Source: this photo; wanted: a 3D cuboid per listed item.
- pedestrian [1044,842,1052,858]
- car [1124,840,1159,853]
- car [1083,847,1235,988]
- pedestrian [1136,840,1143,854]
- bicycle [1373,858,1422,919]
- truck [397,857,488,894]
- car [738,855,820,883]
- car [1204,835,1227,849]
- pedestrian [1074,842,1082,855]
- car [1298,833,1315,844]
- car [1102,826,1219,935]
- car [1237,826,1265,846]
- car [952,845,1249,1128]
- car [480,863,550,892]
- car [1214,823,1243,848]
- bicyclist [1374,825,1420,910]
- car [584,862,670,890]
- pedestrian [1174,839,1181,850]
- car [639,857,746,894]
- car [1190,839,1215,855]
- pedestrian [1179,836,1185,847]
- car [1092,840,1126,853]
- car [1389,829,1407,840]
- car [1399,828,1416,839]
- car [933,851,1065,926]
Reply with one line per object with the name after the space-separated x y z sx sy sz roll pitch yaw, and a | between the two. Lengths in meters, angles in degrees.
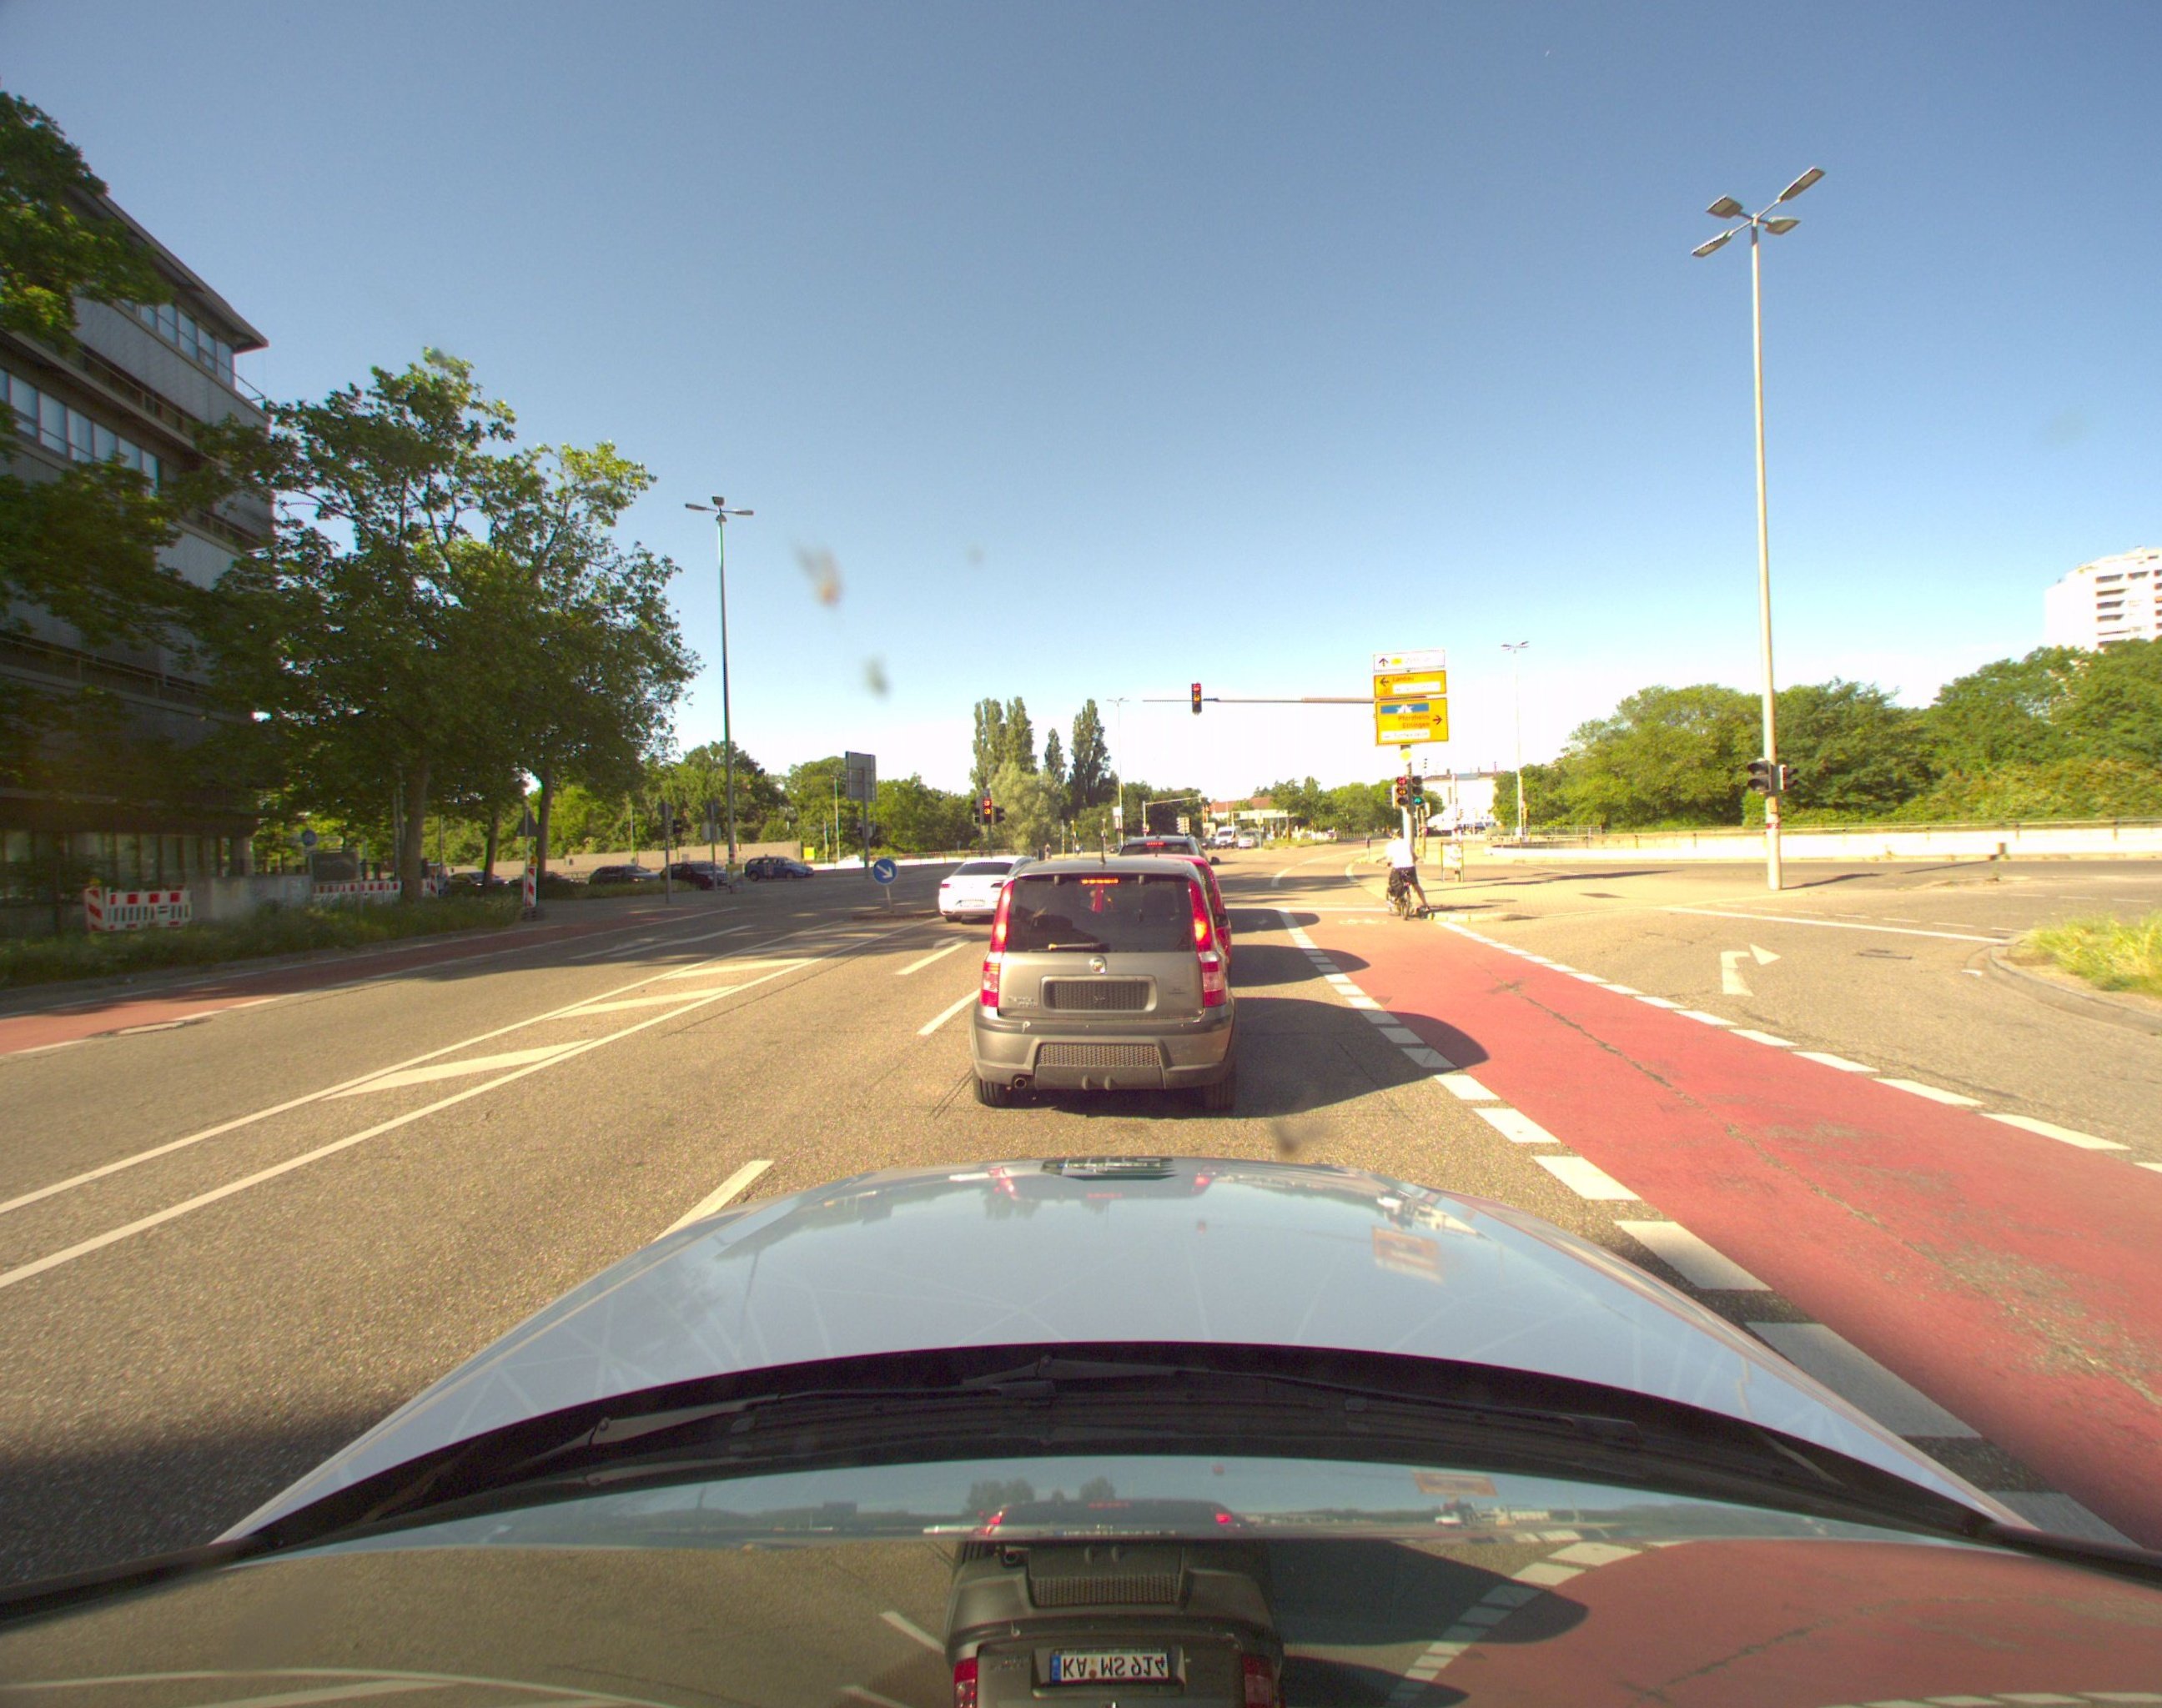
-3.022 -0.375 75.071 0.678 1.463 0.702 -2 1 -4 | pedestrian
7.605 -0.955 102.067 4.351 1.535 1.764 -3 2 -39 | car
1.083 0.688 10.781 1.609 1.463 3.759 -2 1 7 | car
6.601 -0.808 91.845 0.557 1.547 0.573 -3 -1 -14 | pedestrian
6.367 0.658 16.452 0.686 1.102 1.833 -1 1 14 | bicycle
-43.234 1.473 55.048 7.418 2.359 2.178 -2 1 30 | truck
-18.892 0.960 50.945 4.410 1.540 1.960 -2 1 15 | car
16.235 -1.480 98.187 1.795 1.541 4.641 -3 1 21 | car
-0.357 -0.630 97.412 0.710 1.547 0.725 -3 -2 -14 | pedestrian
35.008 -2.409 126.304 1.920 1.622 4.530 -2 1 22 | car
1.720 0.427 16.270 1.933 1.840 4.165 -2 1 10 | car
18.086 -1.944 86.558 1.920 2.008 4.959 -2 1 22 | car
0.334 0.738 6.451 1.609 1.515 3.828 -2 1 7 | car
-35.498 1.497 51.057 4.451 1.644 1.892 -2 1 30 | car
16.468 -2.100 90.589 1.920 2.576 6.122 -2 1 22 | car
6.360 0.252 16.452 0.719 1.659 1.117 -1 1 14 | bicyclist
-24.916 1.212 44.704 4.452 1.358 1.892 -2 1 27 | car
14.857 -1.431 125.279 0.782 1.664 0.633 -1 -1 42 | pedestrian
-19.652 1.084 41.192 4.731 1.621 1.961 -2 1 18 | car
13.731 -0.791 91.639 1.920 1.507 4.020 -3 1 19 | car
16.041 -1.973 129.357 0.713 1.641 0.676 -1 -1 27 | pedestrian
3.605 -0.936 104.894 4.018 1.625 1.880 0 -1 -37 | car
48.867 -3.037 125.464 1.926 1.528 4.123 -2 1 30 | car
52.685 -3.320 131.340 1.926 1.528 4.123 -2 1 30 | car
-1.716 0.701 18.604 1.769 1.415 4.333 -1 1 11 | car
